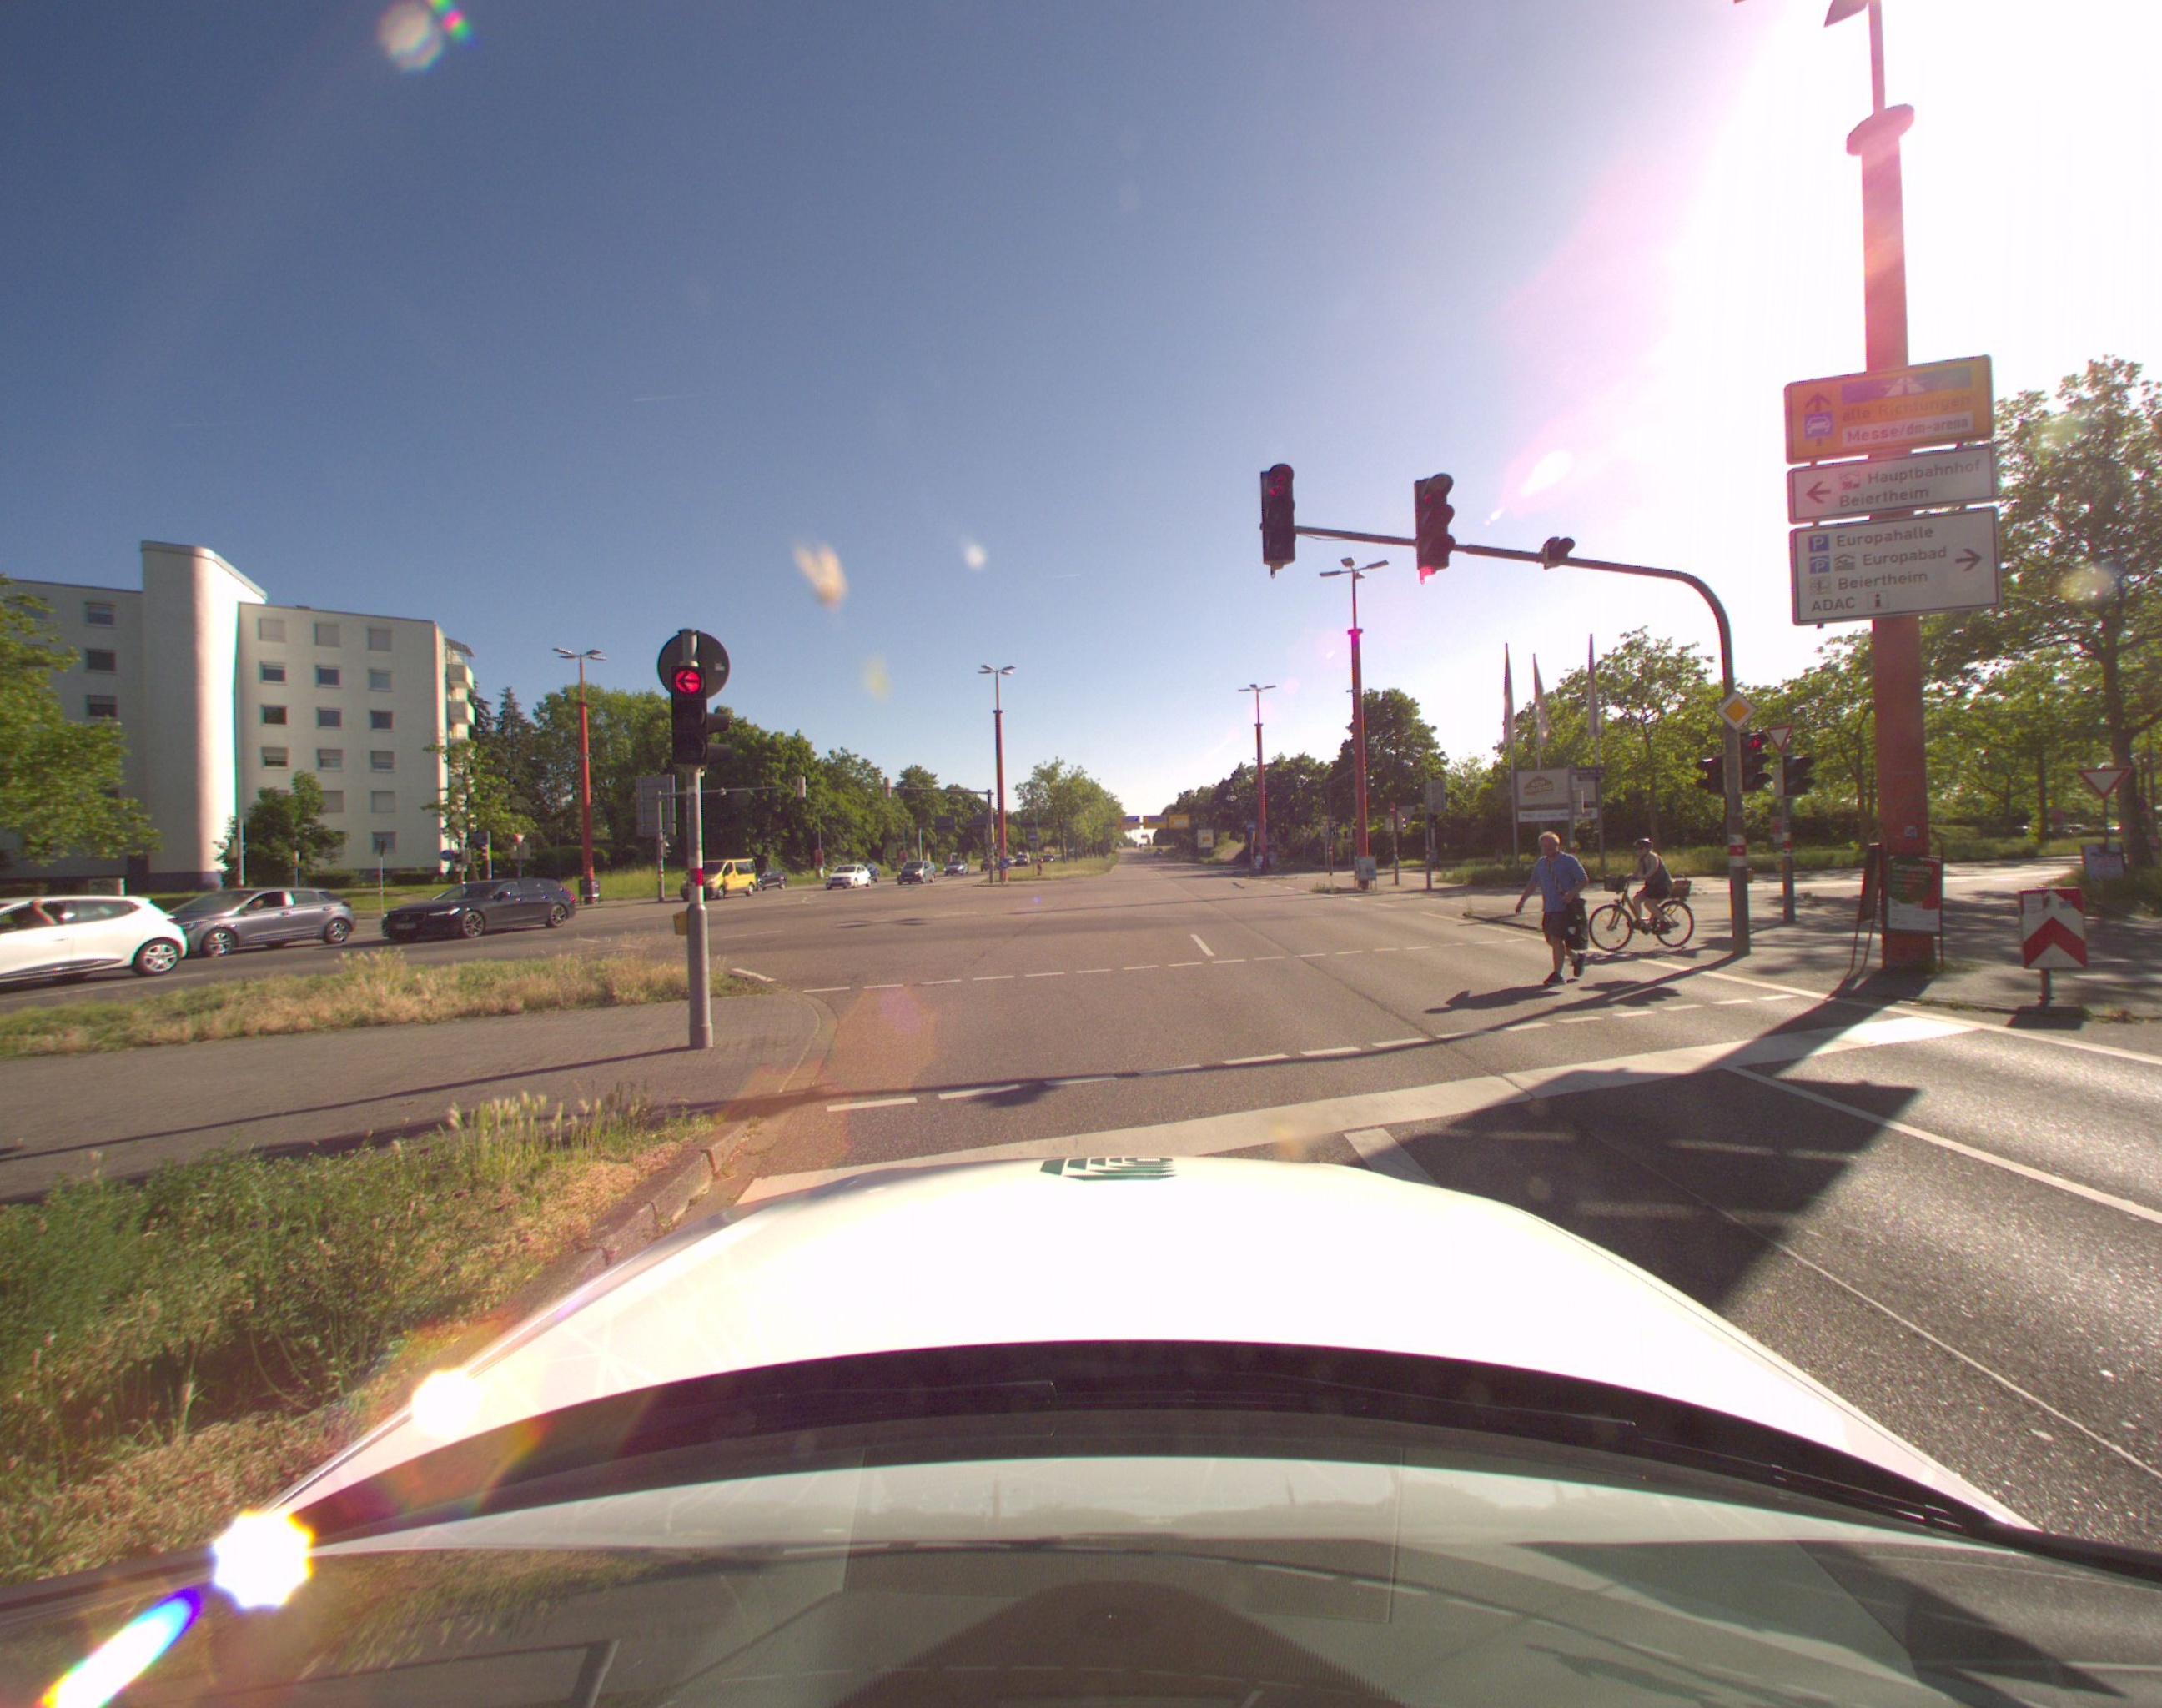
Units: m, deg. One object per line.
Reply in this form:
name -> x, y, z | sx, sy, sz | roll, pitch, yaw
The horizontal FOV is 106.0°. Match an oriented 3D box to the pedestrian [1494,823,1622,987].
pedestrian -> 5.569, 0.558, 9.540 | 0.895, 1.788, 0.893 | -1, 0, -23

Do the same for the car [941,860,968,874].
car -> -12.519, 1.310, 81.050 | 1.997, 1.308, 4.000 | -2, 0, 0

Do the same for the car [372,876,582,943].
car -> -15.368, 1.355, 21.144 | 1.621, 1.368, 4.801 | -2, 0, 4

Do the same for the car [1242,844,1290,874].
car -> 12.211, 0.319, 53.573 | 1.975, 1.887, 4.024 | -2, 0, 28

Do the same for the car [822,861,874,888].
car -> -14.110, 1.206, 49.492 | 1.696, 1.596, 4.004 | -1, -1, 4

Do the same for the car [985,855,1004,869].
car -> -10.540, 0.956, 99.326 | 1.618, 1.739, 4.004 | -2, 0, 4

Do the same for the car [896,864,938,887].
car -> -10.527, 1.352, 52.526 | 1.693, 1.421, 4.003 | 1, -1, 3

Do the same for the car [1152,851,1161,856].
car -> 19.348, -0.127, 208.211 | 2.046, 1.371, 4.393 | -2, 0, 2

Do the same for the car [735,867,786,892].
car -> -22.465, 1.773, 57.308 | 1.987, 1.638, 3.999 | -1, -1, 0

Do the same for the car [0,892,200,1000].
car -> -16.486, 1.420, 12.452 | 1.598, 1.459, 3.953 | -2, 0, 3

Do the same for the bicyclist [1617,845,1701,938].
bicyclist -> 8.752, 0.548, 12.353 | 0.739, 1.341, 0.705 | -2, 0, -9

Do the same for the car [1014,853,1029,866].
car -> -9.292, 0.880, 127.001 | 1.997, 2.014, 4.000 | -1, -1, 0

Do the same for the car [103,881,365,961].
car -> -19.145, 1.439, 18.708 | 1.689, 1.464, 4.003 | -2, 0, 3

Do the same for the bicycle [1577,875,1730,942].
bicycle -> 8.676, 0.806, 12.340 | 2.163, 0.878, 0.557 | -2, 0, -12

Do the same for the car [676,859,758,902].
car -> -18.281, 1.281, 41.121 | 1.750, 1.987, 4.793 | -1, -1, 3
